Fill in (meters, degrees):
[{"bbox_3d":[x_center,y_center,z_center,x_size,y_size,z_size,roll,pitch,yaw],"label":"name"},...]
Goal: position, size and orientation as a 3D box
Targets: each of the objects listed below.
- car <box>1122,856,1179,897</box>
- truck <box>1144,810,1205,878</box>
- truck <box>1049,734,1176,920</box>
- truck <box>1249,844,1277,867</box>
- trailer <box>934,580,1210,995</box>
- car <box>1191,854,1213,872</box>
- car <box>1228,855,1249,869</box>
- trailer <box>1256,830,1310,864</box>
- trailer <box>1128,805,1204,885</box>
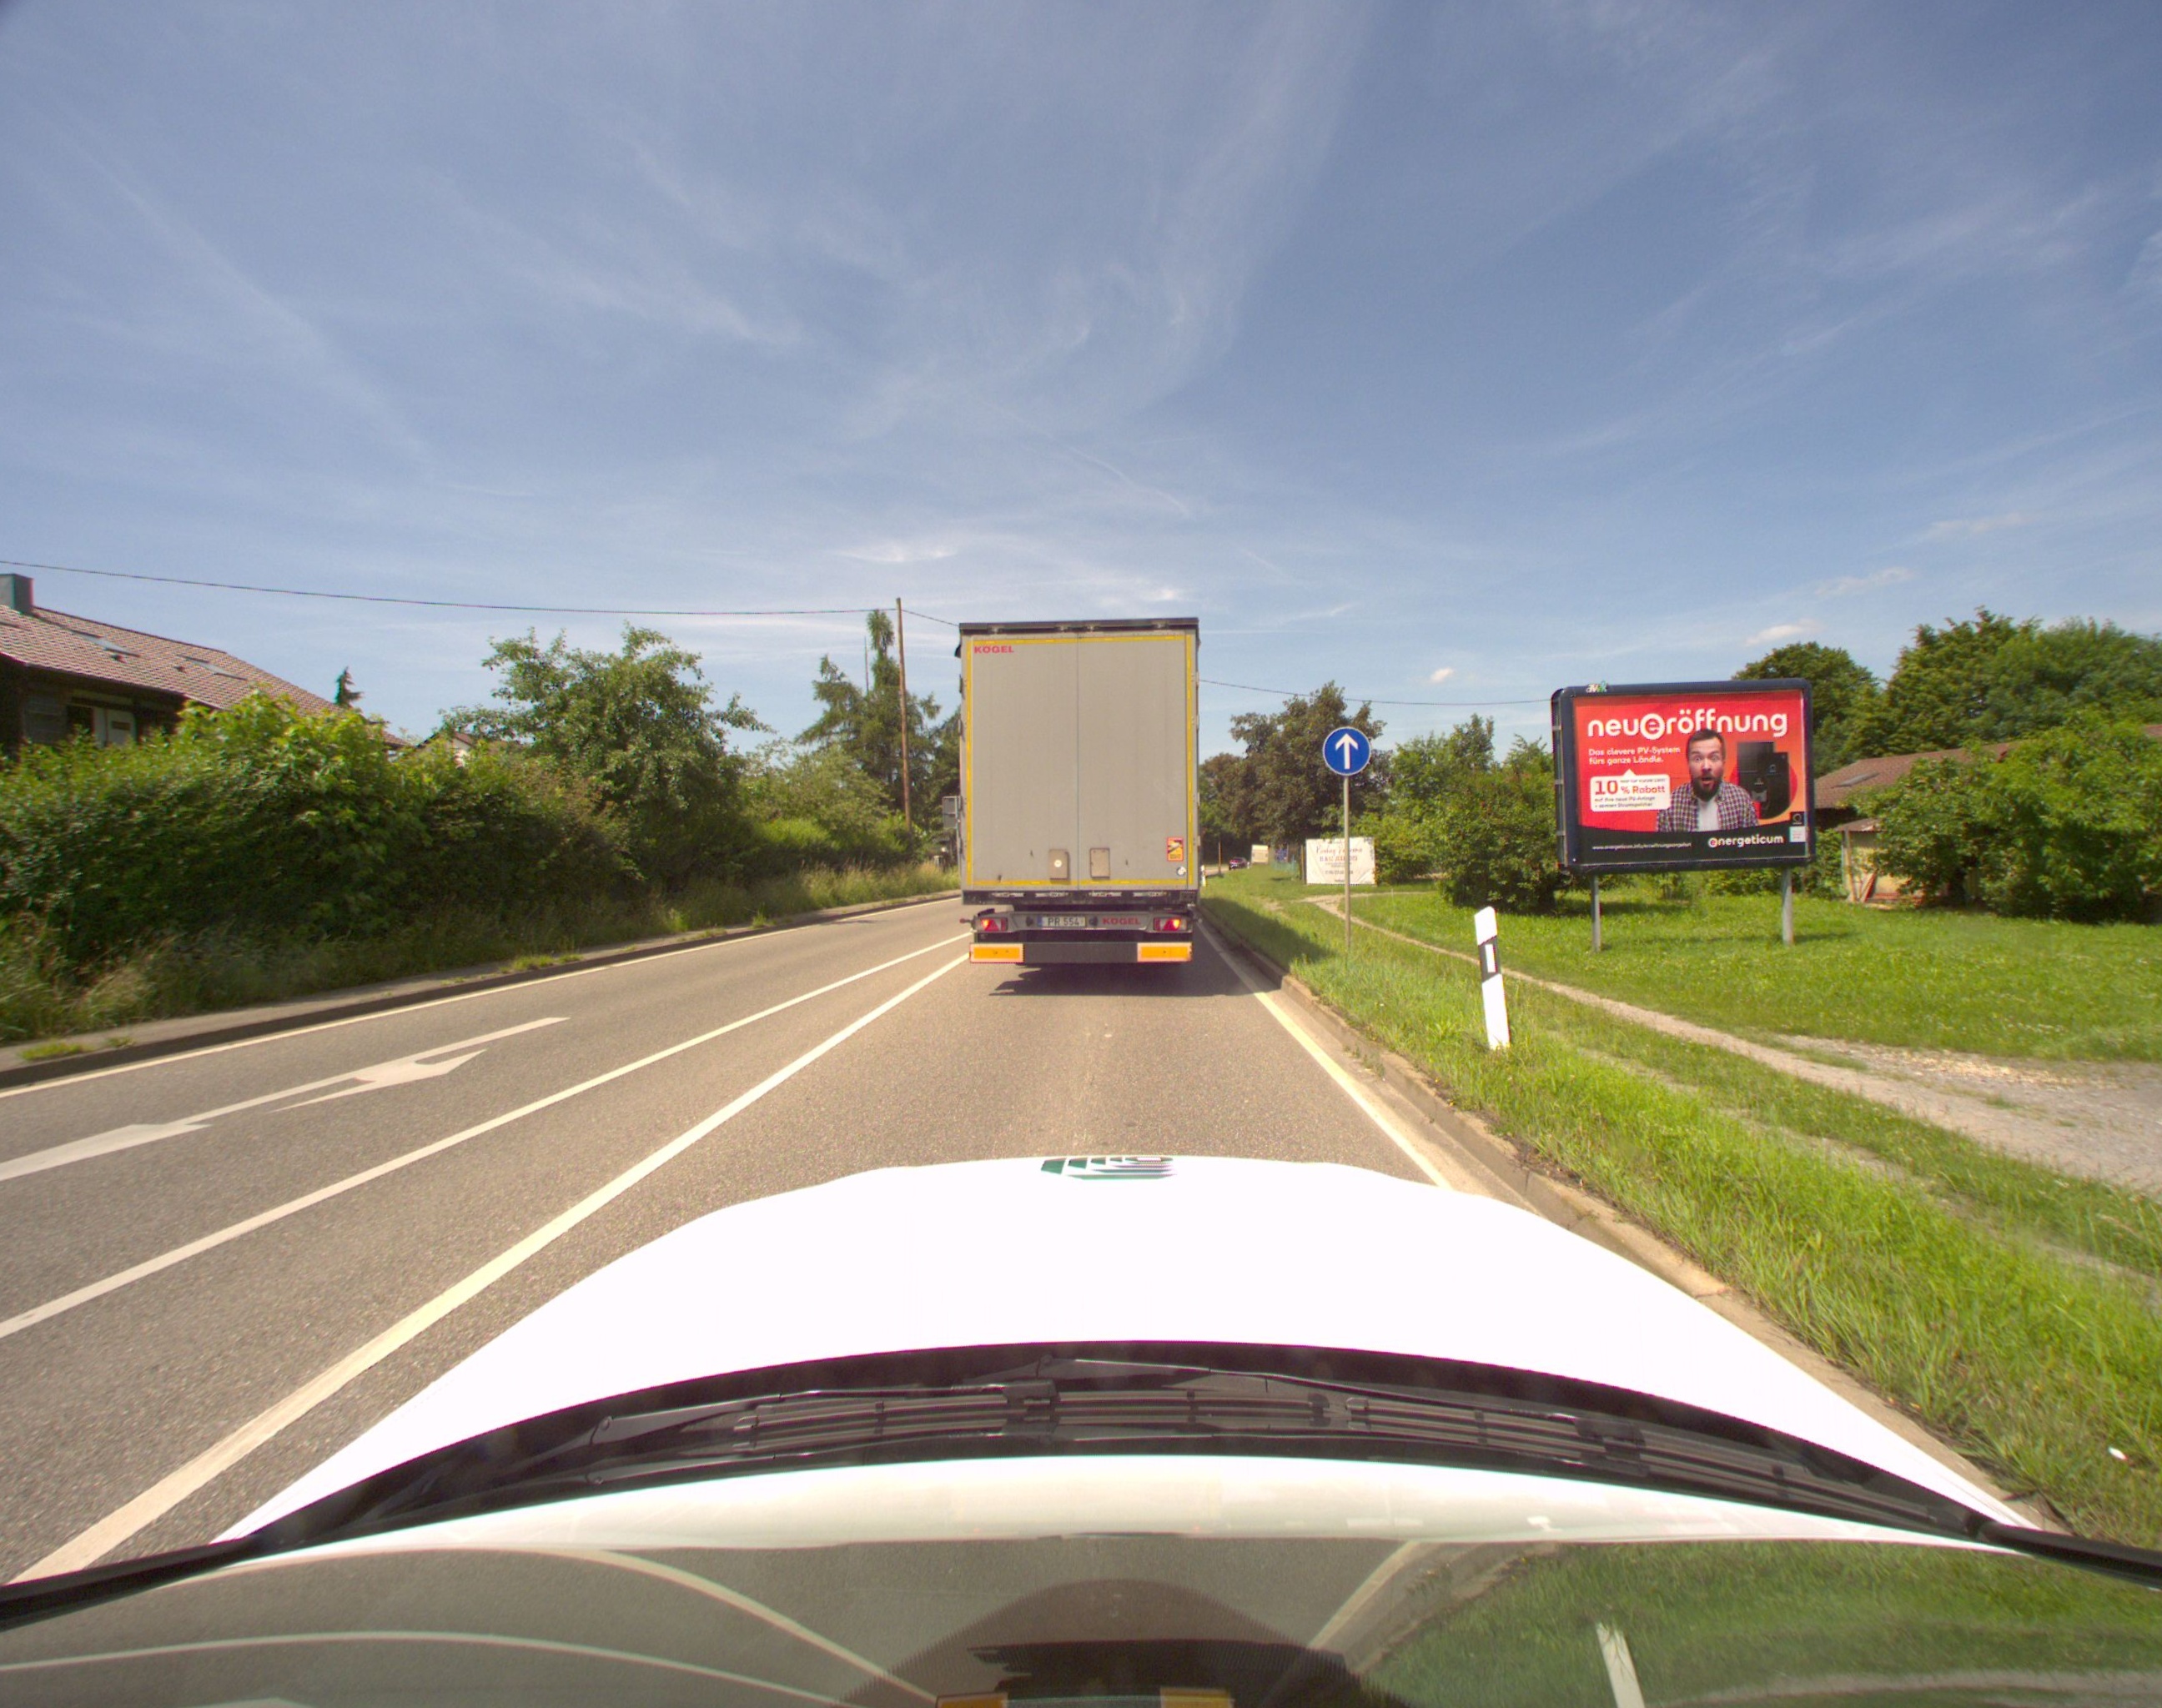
[{"bbox_3d":[2.866,0.857,32.970,1.982,1.530,4.010,0,0,9],"label":"car"},{"bbox_3d":[6.967,-0.701,59.497,3.913,4.574,7.171,-1,0,10],"label":"truck"},{"bbox_3d":[1.056,-0.632,21.469,2.731,4.165,6.156,-1,0,8],"label":"truck"},{"bbox_3d":[23.389,0.119,104.478,2.398,2.838,5.443,-1,0,25],"label":"truck"},{"bbox_3d":[0.409,-0.714,14.419,2.774,4.205,12.127,-1,0,5],"label":"trailer"},{"bbox_3d":[13.013,0.908,87.107,1.980,1.837,4.015,-1,0,13],"label":"car"},{"bbox_3d":[18.100,0.936,93.472,1.827,1.486,4.018,-1,0,17],"label":"car"},{"bbox_3d":[29.998,-1.081,120.091,5.133,4.628,15.984,-1,0,23],"label":"trailer"},{"bbox_3d":[5.761,-0.582,52.770,3.867,4.520,12.750,-1,0,10],"label":"trailer"}]
